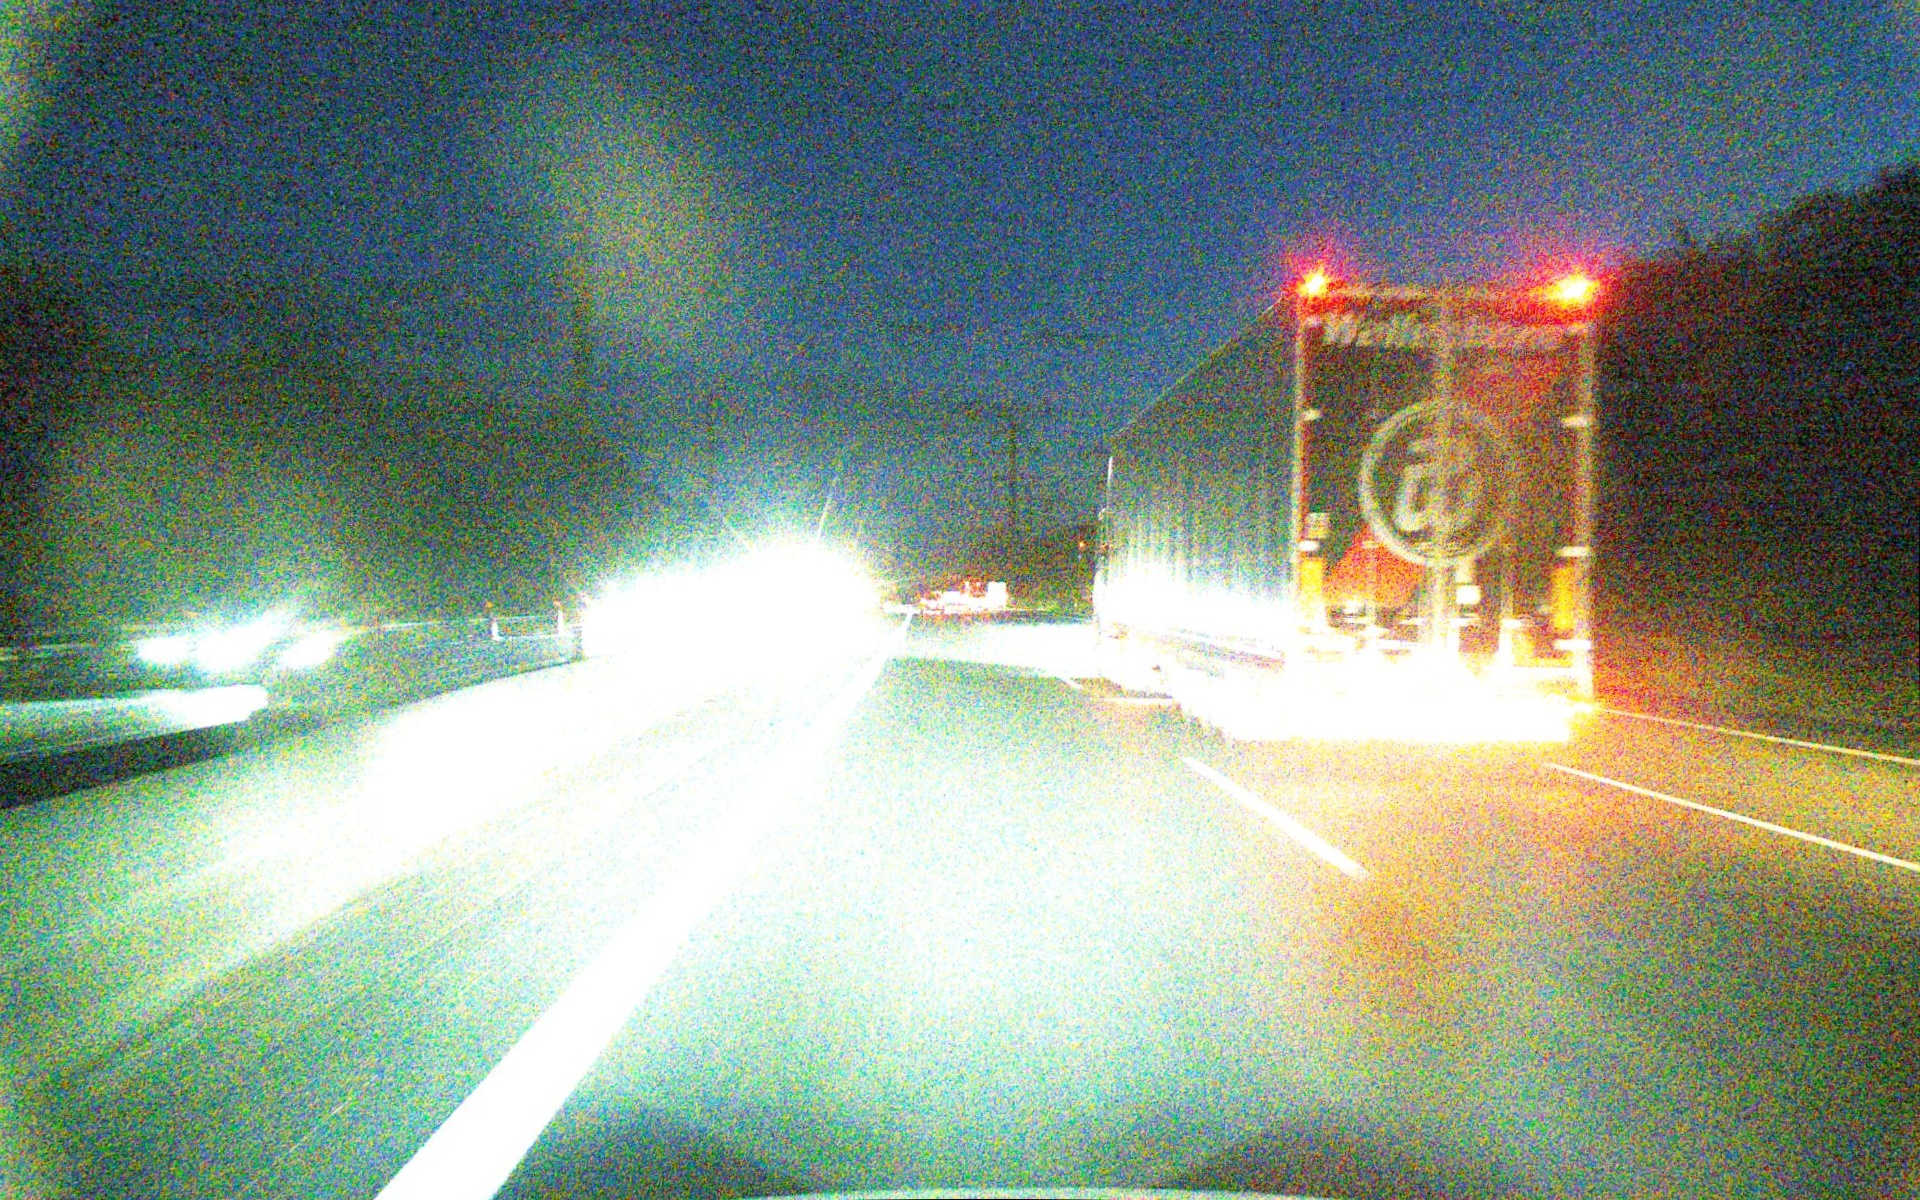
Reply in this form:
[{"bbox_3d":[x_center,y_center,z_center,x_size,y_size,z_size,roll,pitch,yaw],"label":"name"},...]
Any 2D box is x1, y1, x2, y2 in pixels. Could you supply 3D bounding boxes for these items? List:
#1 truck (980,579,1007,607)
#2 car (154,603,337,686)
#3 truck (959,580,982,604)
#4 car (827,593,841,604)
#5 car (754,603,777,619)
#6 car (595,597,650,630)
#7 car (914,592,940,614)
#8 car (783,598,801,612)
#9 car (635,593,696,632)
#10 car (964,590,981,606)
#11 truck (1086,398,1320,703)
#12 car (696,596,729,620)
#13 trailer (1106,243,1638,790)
[{"bbox_3d":[3.374,-0.661,166.955,2.035,2.738,7.302,1,0,-4],"label":"truck"},{"bbox_3d":[-14.709,0.863,34.354,1.715,1.504,4.941,-2,0,-1],"label":"car"},{"bbox_3d":[1.541,-1.139,244.452,2.983,3.383,10.137,1,0,-2],"label":"truck"},{"bbox_3d":[-17.158,-0.241,225.621,1.715,1.504,4.580,0,0,-3],"label":"car"},{"bbox_3d":[-17.436,0.956,148.420,1.629,1.357,4.807,-2,0,-3],"label":"car"},{"bbox_3d":[-16.460,0.645,80.921,1.714,1.504,4.481,-2,0,0],"label":"car"},{"bbox_3d":[-2.341,0.210,117.367,1.784,1.492,4.246,1,0,-2],"label":"car"},{"bbox_3d":[-18.359,0.507,181.102,1.599,1.418,4.875,-2,0,-2],"label":"car"},{"bbox_3d":[-12.117,0.485,68.324,1.715,1.504,4.762,-2,0,-1],"label":"car"},{"bbox_3d":[1.137,-0.226,150.951,1.319,1.411,3.500,1,0,-2],"label":"car"},{"bbox_3d":[3.719,-0.725,26.915,2.608,4.280,6.721,1,0,-1],"label":"truck"},{"bbox_3d":[-16.602,0.521,110.979,1.716,1.504,4.722,-2,0,-4],"label":"car"},{"bbox_3d":[3.880,-0.699,19.908,2.687,4.280,13.507,1,0,-1],"label":"trailer"}]
